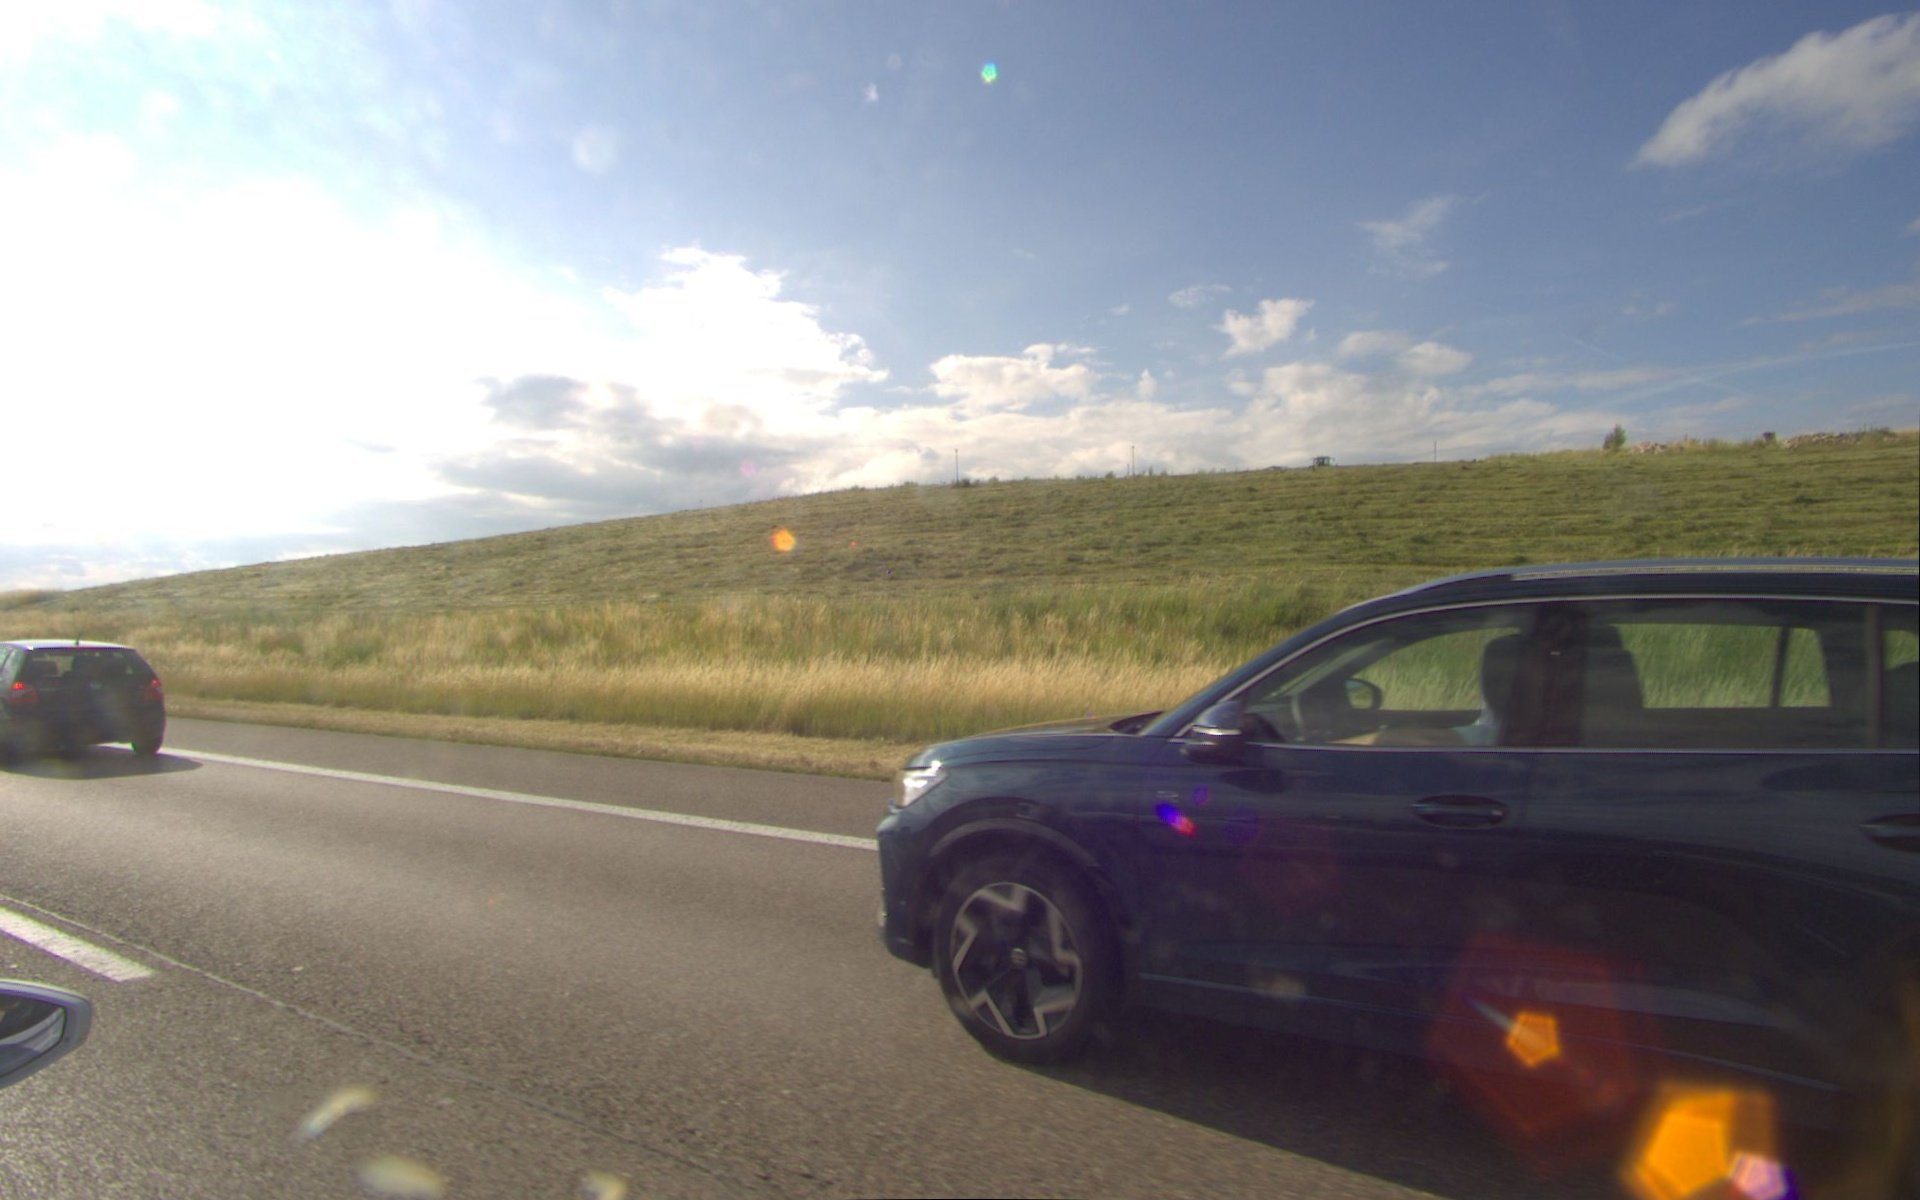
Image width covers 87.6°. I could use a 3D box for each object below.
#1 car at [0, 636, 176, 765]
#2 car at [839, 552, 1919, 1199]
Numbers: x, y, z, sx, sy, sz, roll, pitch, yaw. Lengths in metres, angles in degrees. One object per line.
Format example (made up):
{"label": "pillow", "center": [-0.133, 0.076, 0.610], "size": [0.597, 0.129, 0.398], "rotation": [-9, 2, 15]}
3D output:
{"label": "car", "center": [-11.808, 1.193, 12.880], "size": [3.620, 1.438, 1.603], "rotation": [-2, -2, 32]}
{"label": "car", "center": [1.775, 0.746, 3.442], "size": [4.175, 1.622, 1.818], "rotation": [-1, -2, 33]}
